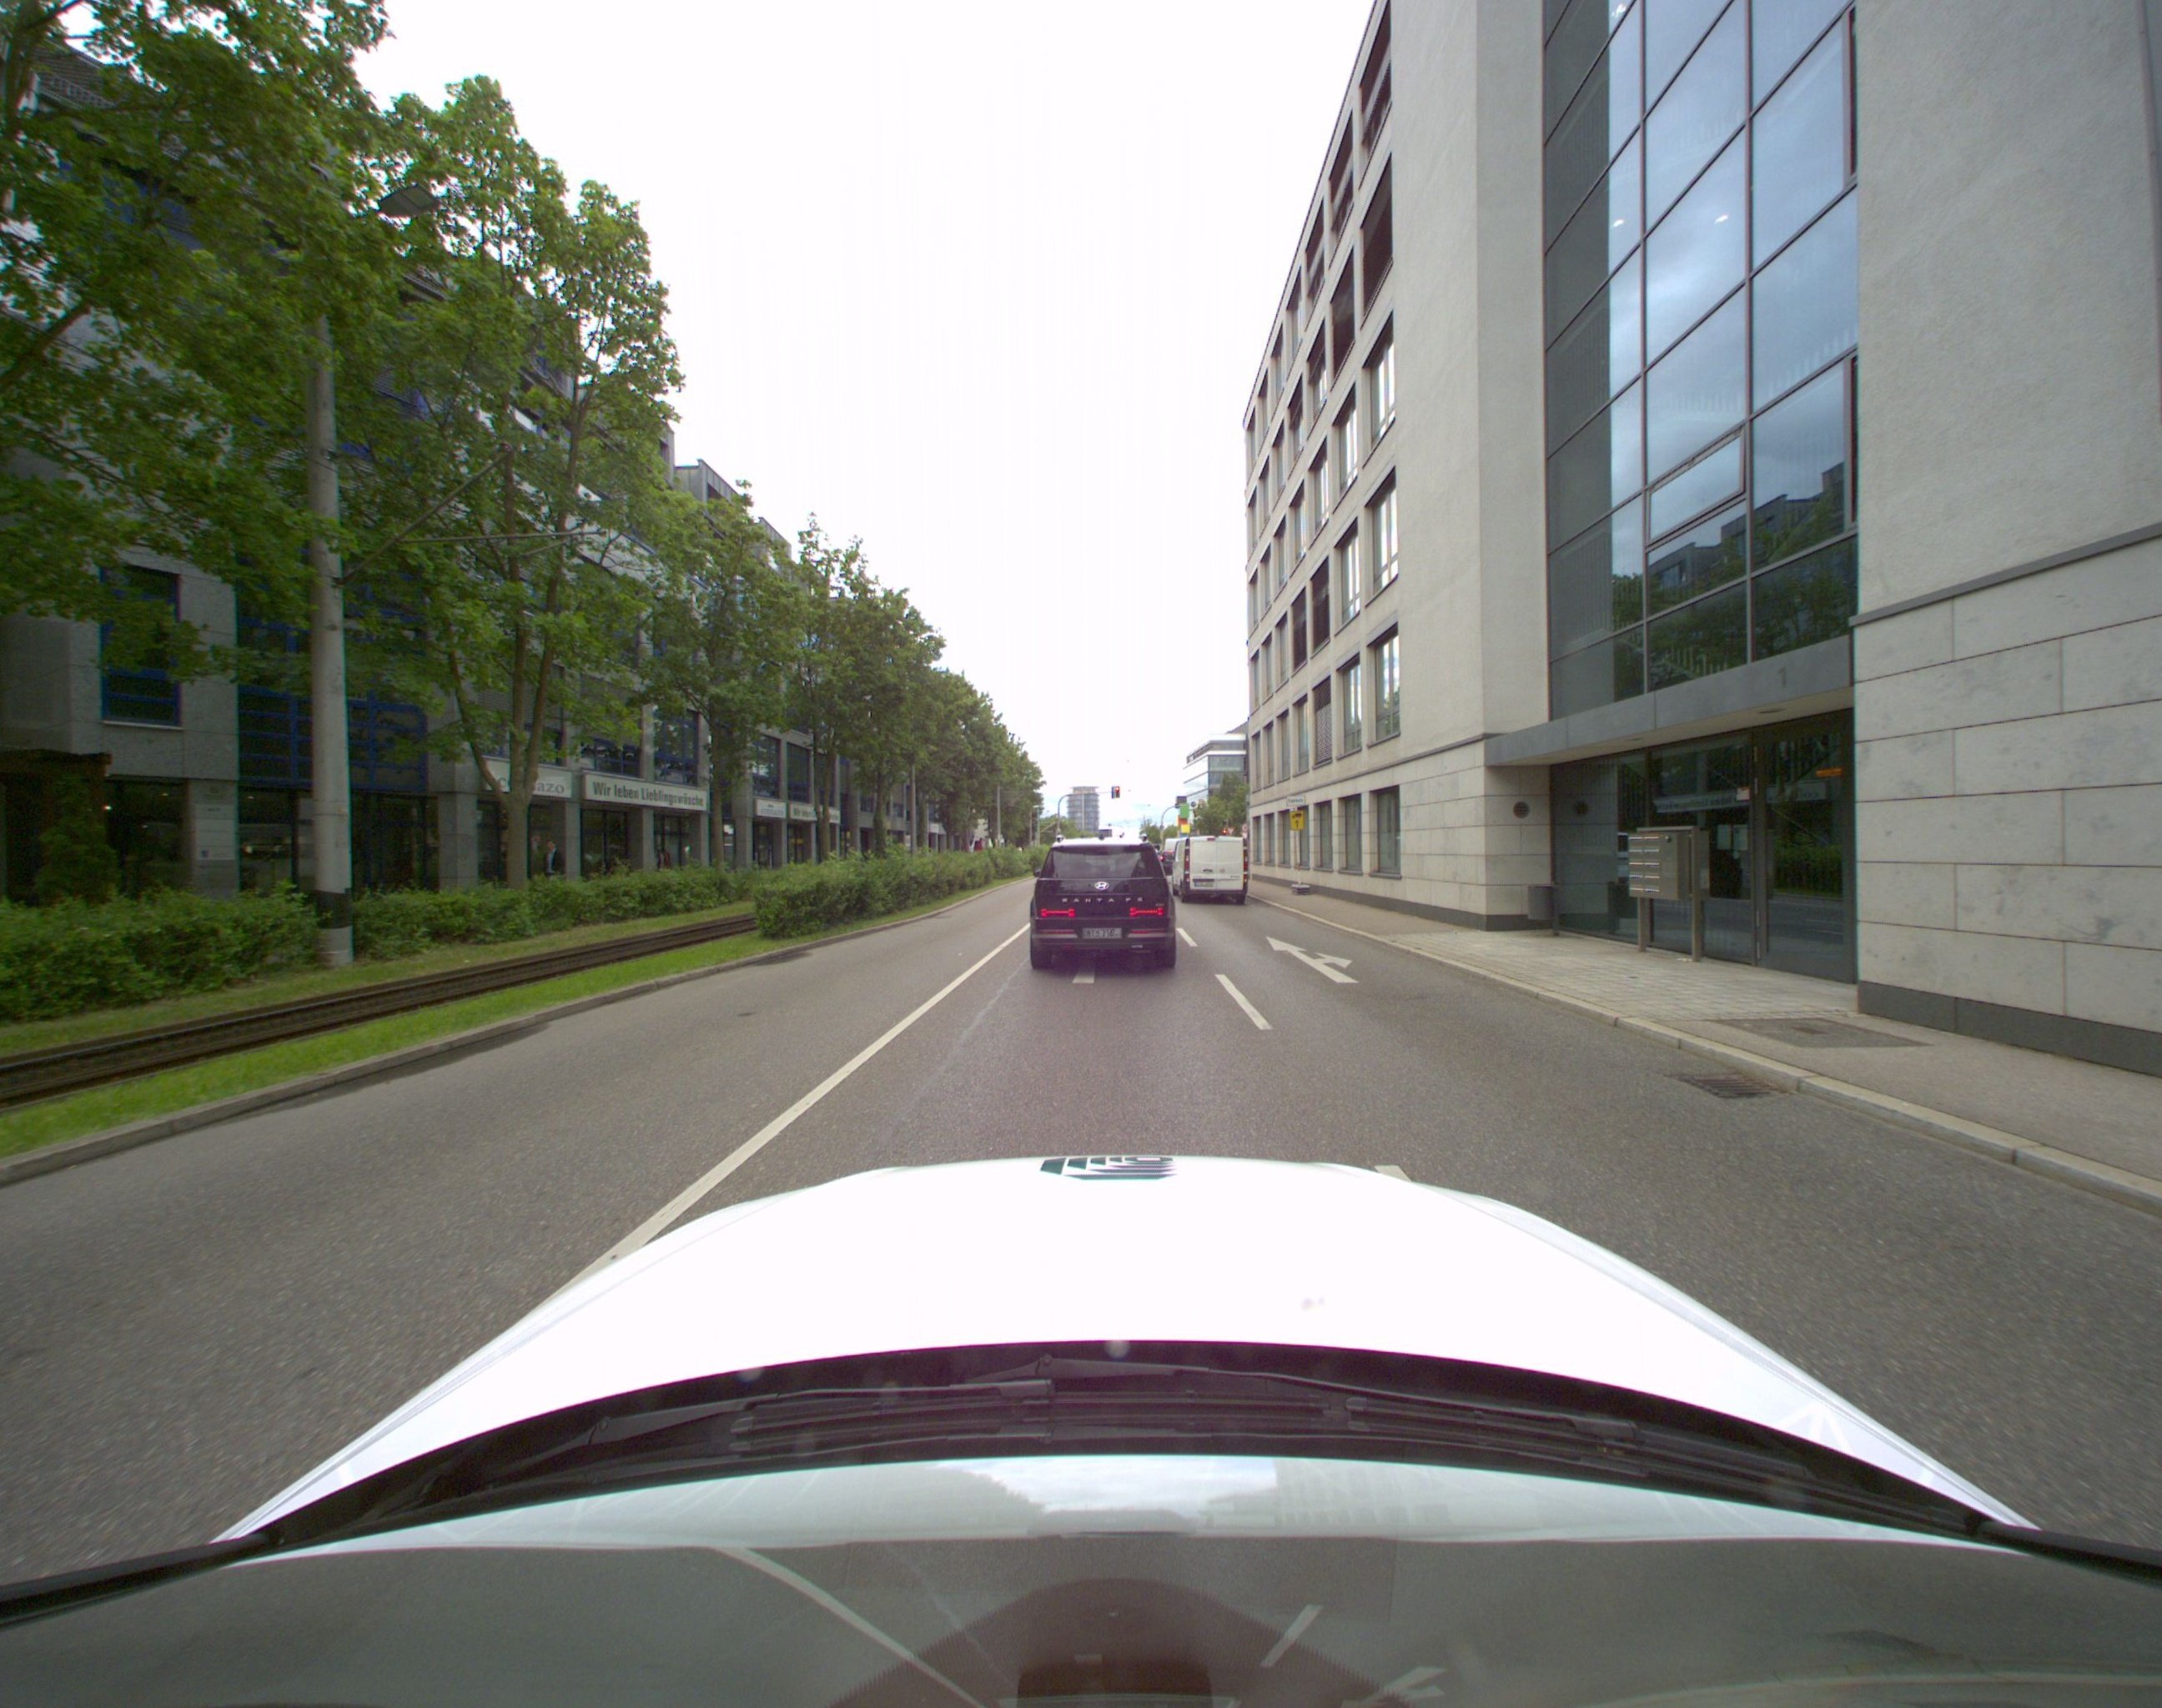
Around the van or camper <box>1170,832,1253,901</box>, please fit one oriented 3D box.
[{"bbox_3d":[3.877,0.342,24.887,1.986,1.915,4.334,0,0,2],"label":"van or camper"}]

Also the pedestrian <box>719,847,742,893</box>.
[{"bbox_3d":[-15.329,0.690,35.648,0.678,2.013,0.571,-2,0,1],"label":"pedestrian"}]

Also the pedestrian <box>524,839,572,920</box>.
[{"bbox_3d":[-12.853,0.604,19.642,0.672,1.908,0.622,-2,0,2],"label":"pedestrian"}]

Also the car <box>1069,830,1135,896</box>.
[{"bbox_3d":[0.599,0.266,26.931,1.926,1.994,4.532,-1,0,-1],"label":"car"}]

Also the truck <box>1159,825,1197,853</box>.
[{"bbox_3d":[10.073,-1.516,85.295,2.330,2.748,6.469,-1,0,-8],"label":"truck"}]

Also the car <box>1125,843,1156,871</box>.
[{"bbox_3d":[4.036,0.199,55.611,1.986,1.790,4.002,-1,0,2],"label":"car"}]

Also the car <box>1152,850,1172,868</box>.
[{"bbox_3d":[7.554,0.416,76.077,1.751,1.609,4.194,-1,0,5],"label":"car"}]

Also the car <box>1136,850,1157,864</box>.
[{"bbox_3d":[7.701,0.313,96.613,1.988,1.618,3.997,-2,0,-2],"label":"car"}]

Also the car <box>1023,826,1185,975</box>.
[{"bbox_3d":[0.246,0.554,11.850,1.903,1.749,4.395,-1,0,-1],"label":"car"}]
